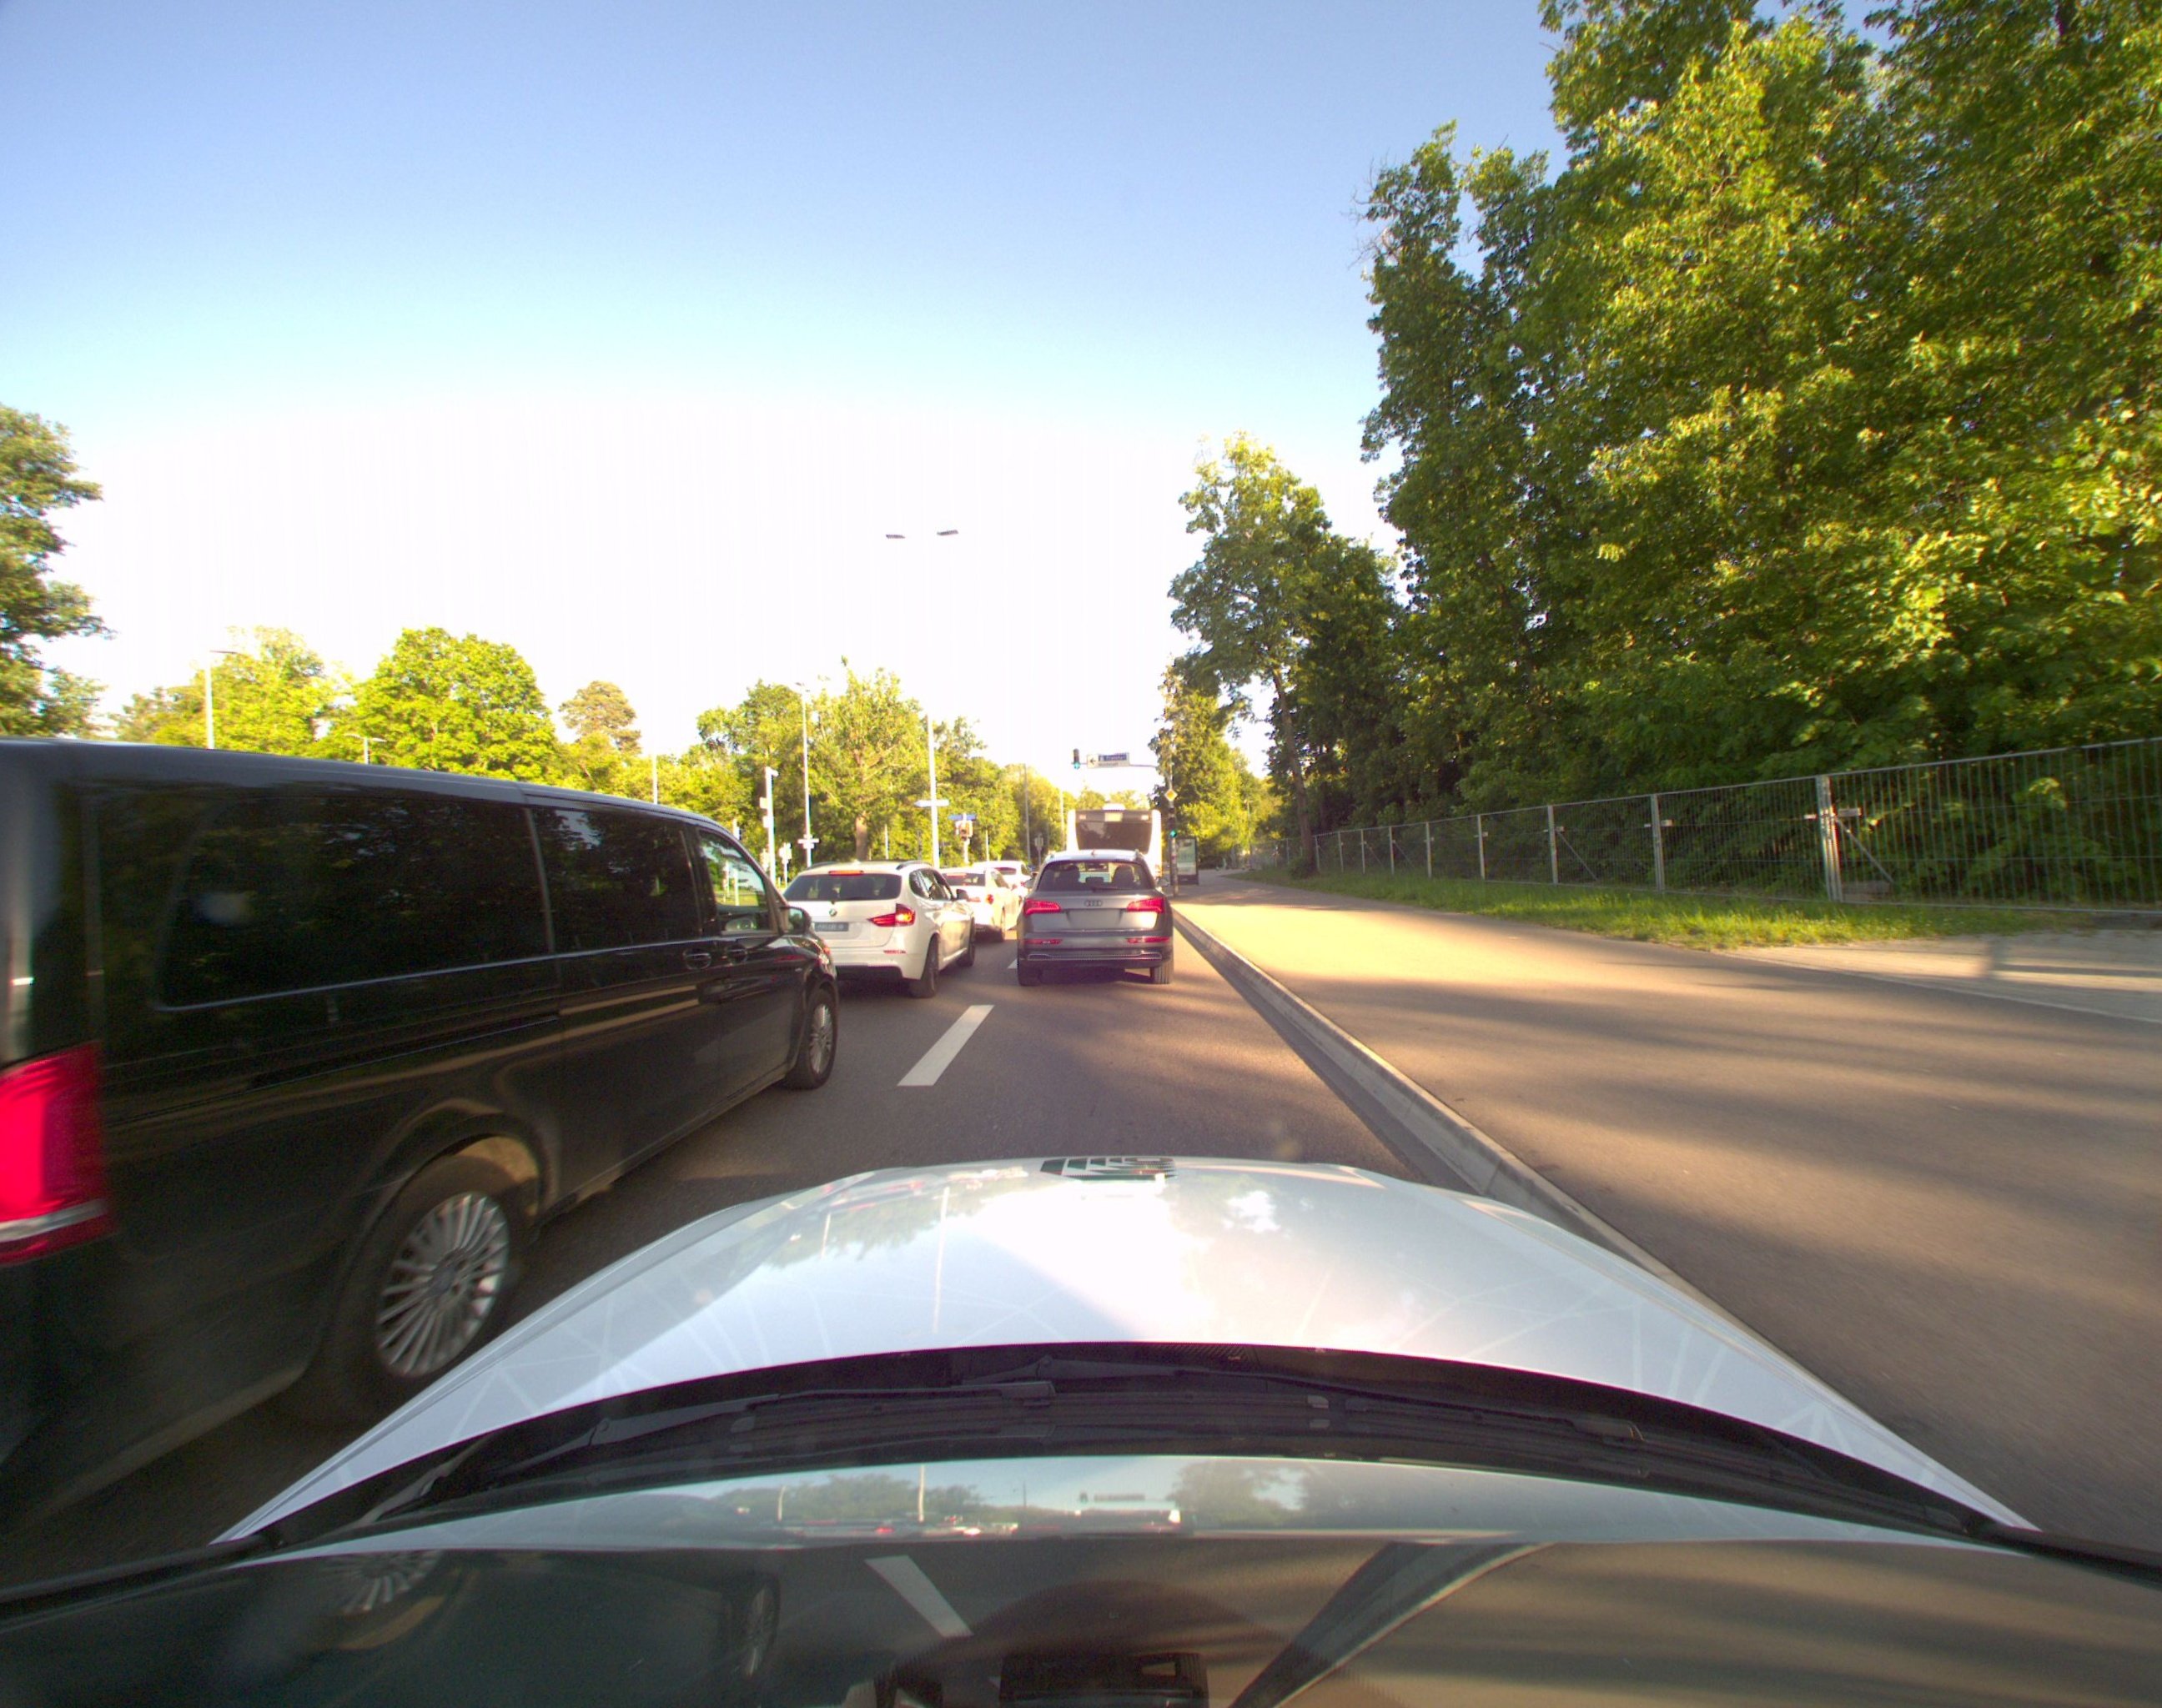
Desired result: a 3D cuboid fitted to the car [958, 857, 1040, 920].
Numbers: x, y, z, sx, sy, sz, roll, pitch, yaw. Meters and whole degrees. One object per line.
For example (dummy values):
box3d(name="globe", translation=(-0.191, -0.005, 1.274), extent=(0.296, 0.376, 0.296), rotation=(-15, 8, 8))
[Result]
box3d(name="car", translation=(-2.216, 0.898, 22.973), extent=(1.801, 1.572, 4.002), rotation=(0, 0, 2))

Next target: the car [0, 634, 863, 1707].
box3d(name="car", translation=(-2.693, 0.535, 3.769), extent=(1.900, 1.856, 4.875), rotation=(0, 1, 2))

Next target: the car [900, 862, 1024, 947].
box3d(name="car", translation=(-2.267, 0.918, 16.604), extent=(1.778, 1.444, 4.279), rotation=(0, 0, 1))

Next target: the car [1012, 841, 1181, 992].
box3d(name="car", translation=(0.231, 0.687, 11.001), extent=(1.861, 1.664, 4.002), rotation=(0, 0, 2))

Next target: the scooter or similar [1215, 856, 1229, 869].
box3d(name="scooter or similar", translation=(12.624, 0.747, 72.874), extent=(1.175, 1.174, 0.661), rotation=(0, 0, 13))

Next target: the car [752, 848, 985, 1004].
box3d(name="car", translation=(-2.431, 0.779, 10.524), extent=(1.712, 1.581, 4.435), rotation=(0, -1, 2))

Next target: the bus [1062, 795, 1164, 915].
box3d(name="bus", translation=(0.997, 0.020, 24.280), extent=(2.667, 3.142, 5.886), rotation=(0, 0, 3))
